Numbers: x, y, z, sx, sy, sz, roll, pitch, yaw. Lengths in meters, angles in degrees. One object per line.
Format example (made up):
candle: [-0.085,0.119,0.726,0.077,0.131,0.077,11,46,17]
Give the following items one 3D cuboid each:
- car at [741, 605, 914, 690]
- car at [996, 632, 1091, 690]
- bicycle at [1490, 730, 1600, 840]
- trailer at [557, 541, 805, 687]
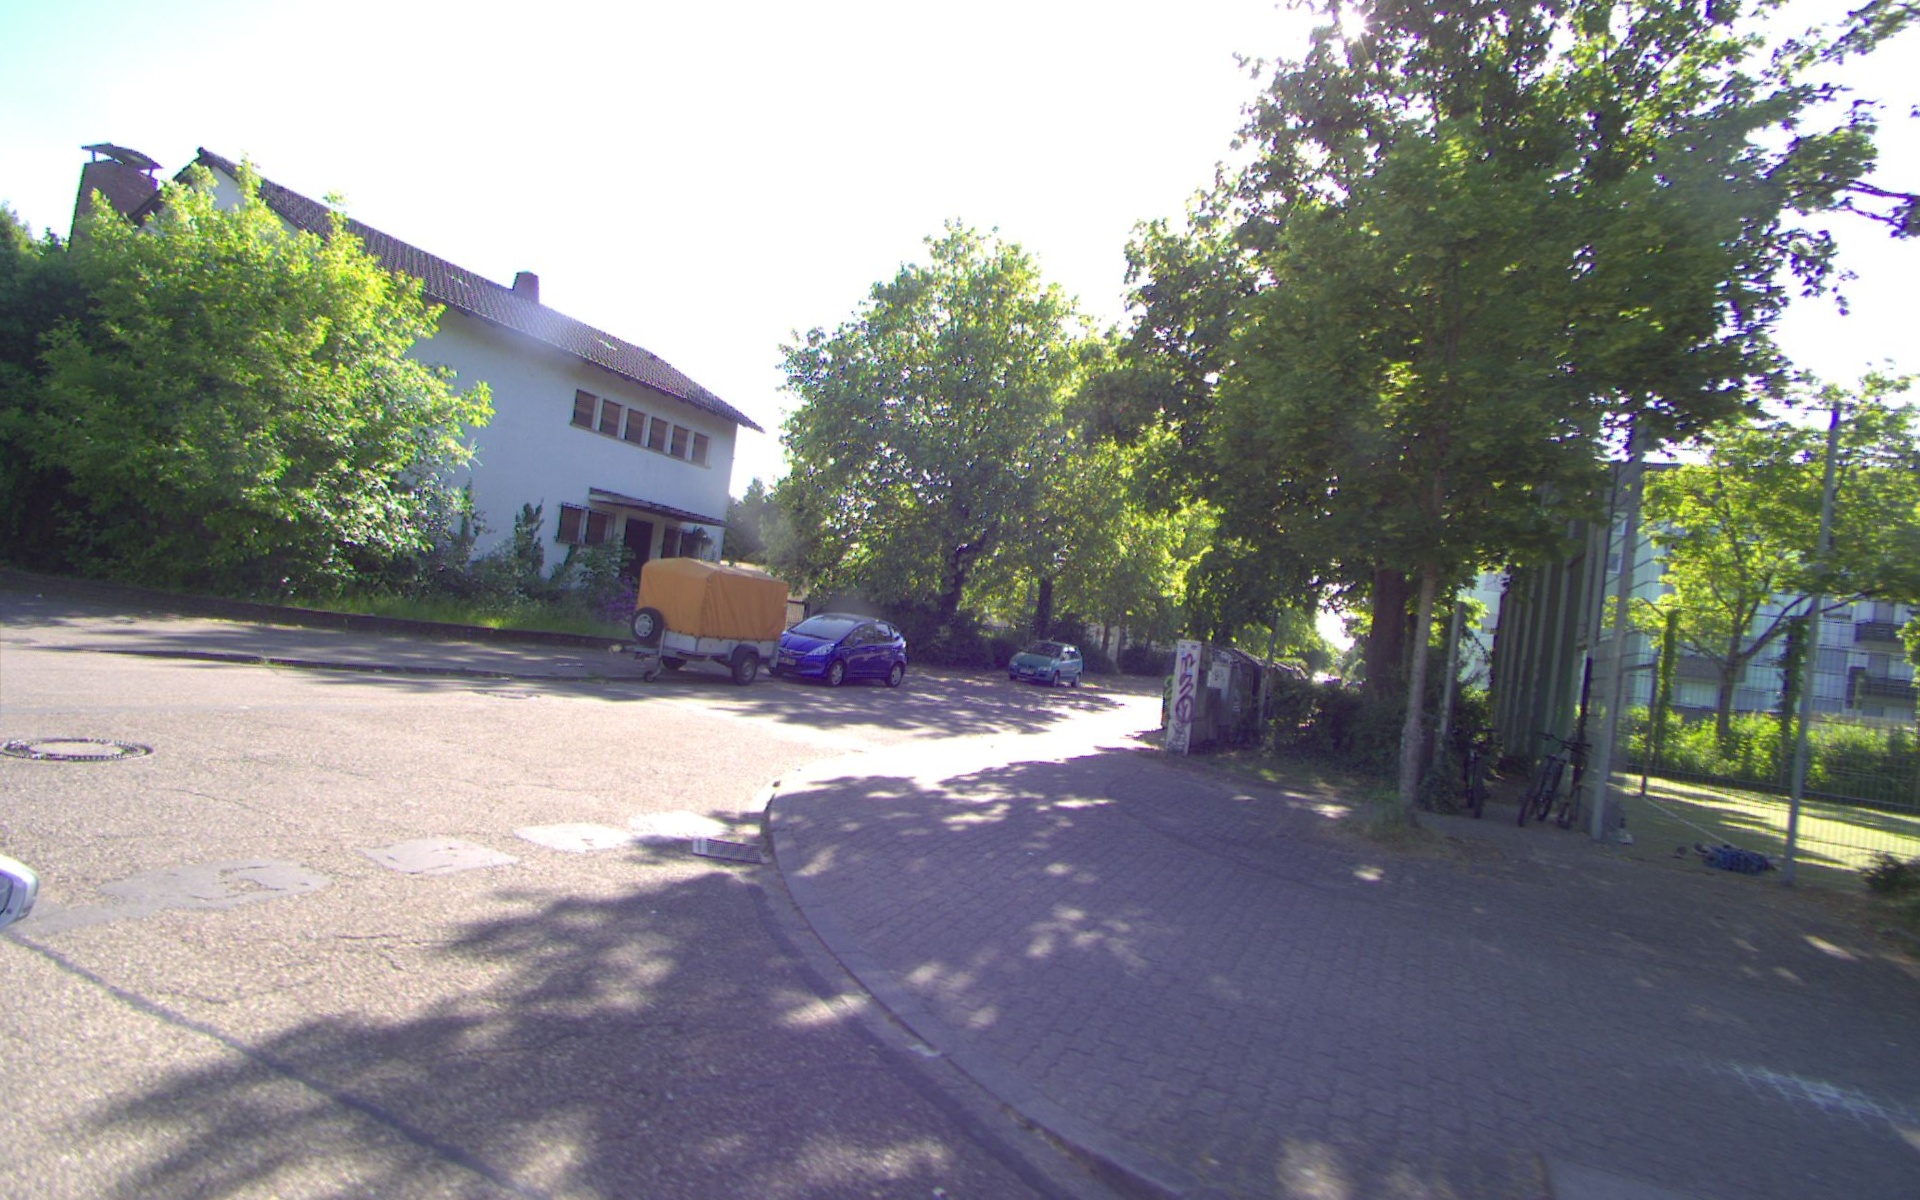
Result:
car: [-2.844,1.113,22.438,1.856,1.529,3.929,6,-2,26]
car: [3.006,2.193,35.414,1.841,1.670,3.999,7,-2,26]
bicycle: [6.085,1.911,10.497,0.291,0.969,0.902,7,-1,-22]
trailer: [-4.894,0.356,18.265,1.943,2.144,4.074,8,-1,25]
